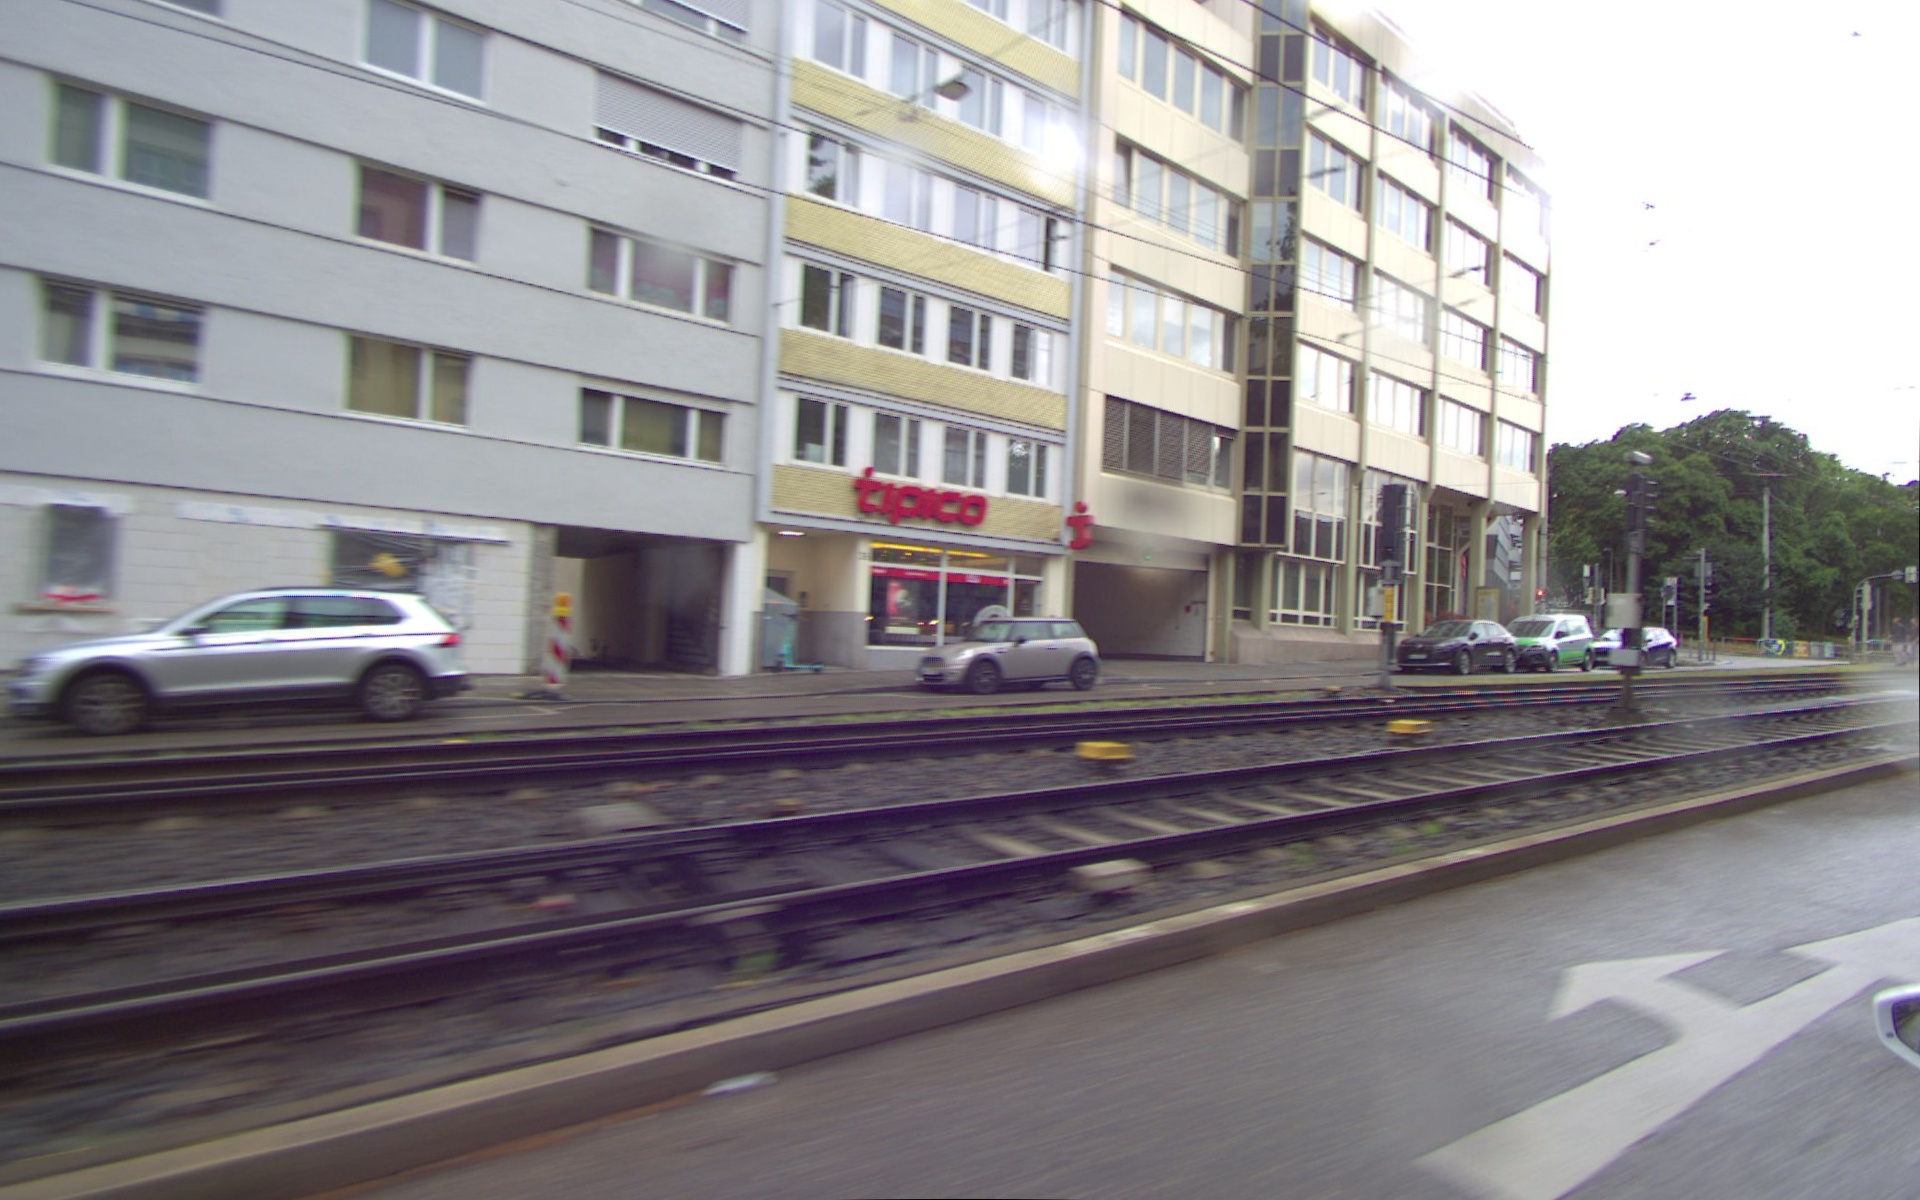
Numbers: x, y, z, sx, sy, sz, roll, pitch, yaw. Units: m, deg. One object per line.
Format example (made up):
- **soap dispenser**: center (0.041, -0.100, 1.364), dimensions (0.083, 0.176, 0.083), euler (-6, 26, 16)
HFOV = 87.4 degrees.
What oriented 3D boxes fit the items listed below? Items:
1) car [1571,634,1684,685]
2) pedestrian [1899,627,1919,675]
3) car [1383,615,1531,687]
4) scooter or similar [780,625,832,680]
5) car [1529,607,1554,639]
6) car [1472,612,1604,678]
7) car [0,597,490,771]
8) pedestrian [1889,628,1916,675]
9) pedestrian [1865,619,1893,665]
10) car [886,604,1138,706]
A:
- **car**: center (23.868, 2.132, 35.849), dimensions (4.509, 1.603, 1.978), euler (3, 0, -38)
- **pedestrian**: center (36.999, 1.978, 39.015), dimensions (0.631, 1.811, 0.808), euler (3, 0, 37)
- **car**: center (14.501, 1.482, 29.215), dimensions (4.653, 1.874, 1.978), euler (3, 0, -38)
- **scooter or similar**: center (-3.113, 1.048, 20.344), dimensions (0.964, 1.046, 0.378), euler (-2, 3, -37)
- **car**: center (58.148, 2.304, 100.394), dimensions (1.965, 3.037, 4.200), euler (3, 0, 32)
- **car**: center (18.448, 1.440, 31.988), dimensions (4.653, 1.874, 1.978), euler (3, 0, -38)
- **car**: center (-8.396, 0.868, 12.151), dimensions (4.648, 1.696, 1.980), euler (1, 1, -35)
- **pedestrian**: center (37.436, 2.030, 39.906), dimensions (0.631, 1.811, 0.808), euler (3, 0, 37)
- **pedestrian**: center (36.843, 1.671, 40.266), dimensions (0.630, 1.811, 0.809), euler (3, 0, 32)
- **car**: center (1.085, 1.050, 19.444), dimensions (4.653, 1.696, 1.978), euler (3, 0, -38)
